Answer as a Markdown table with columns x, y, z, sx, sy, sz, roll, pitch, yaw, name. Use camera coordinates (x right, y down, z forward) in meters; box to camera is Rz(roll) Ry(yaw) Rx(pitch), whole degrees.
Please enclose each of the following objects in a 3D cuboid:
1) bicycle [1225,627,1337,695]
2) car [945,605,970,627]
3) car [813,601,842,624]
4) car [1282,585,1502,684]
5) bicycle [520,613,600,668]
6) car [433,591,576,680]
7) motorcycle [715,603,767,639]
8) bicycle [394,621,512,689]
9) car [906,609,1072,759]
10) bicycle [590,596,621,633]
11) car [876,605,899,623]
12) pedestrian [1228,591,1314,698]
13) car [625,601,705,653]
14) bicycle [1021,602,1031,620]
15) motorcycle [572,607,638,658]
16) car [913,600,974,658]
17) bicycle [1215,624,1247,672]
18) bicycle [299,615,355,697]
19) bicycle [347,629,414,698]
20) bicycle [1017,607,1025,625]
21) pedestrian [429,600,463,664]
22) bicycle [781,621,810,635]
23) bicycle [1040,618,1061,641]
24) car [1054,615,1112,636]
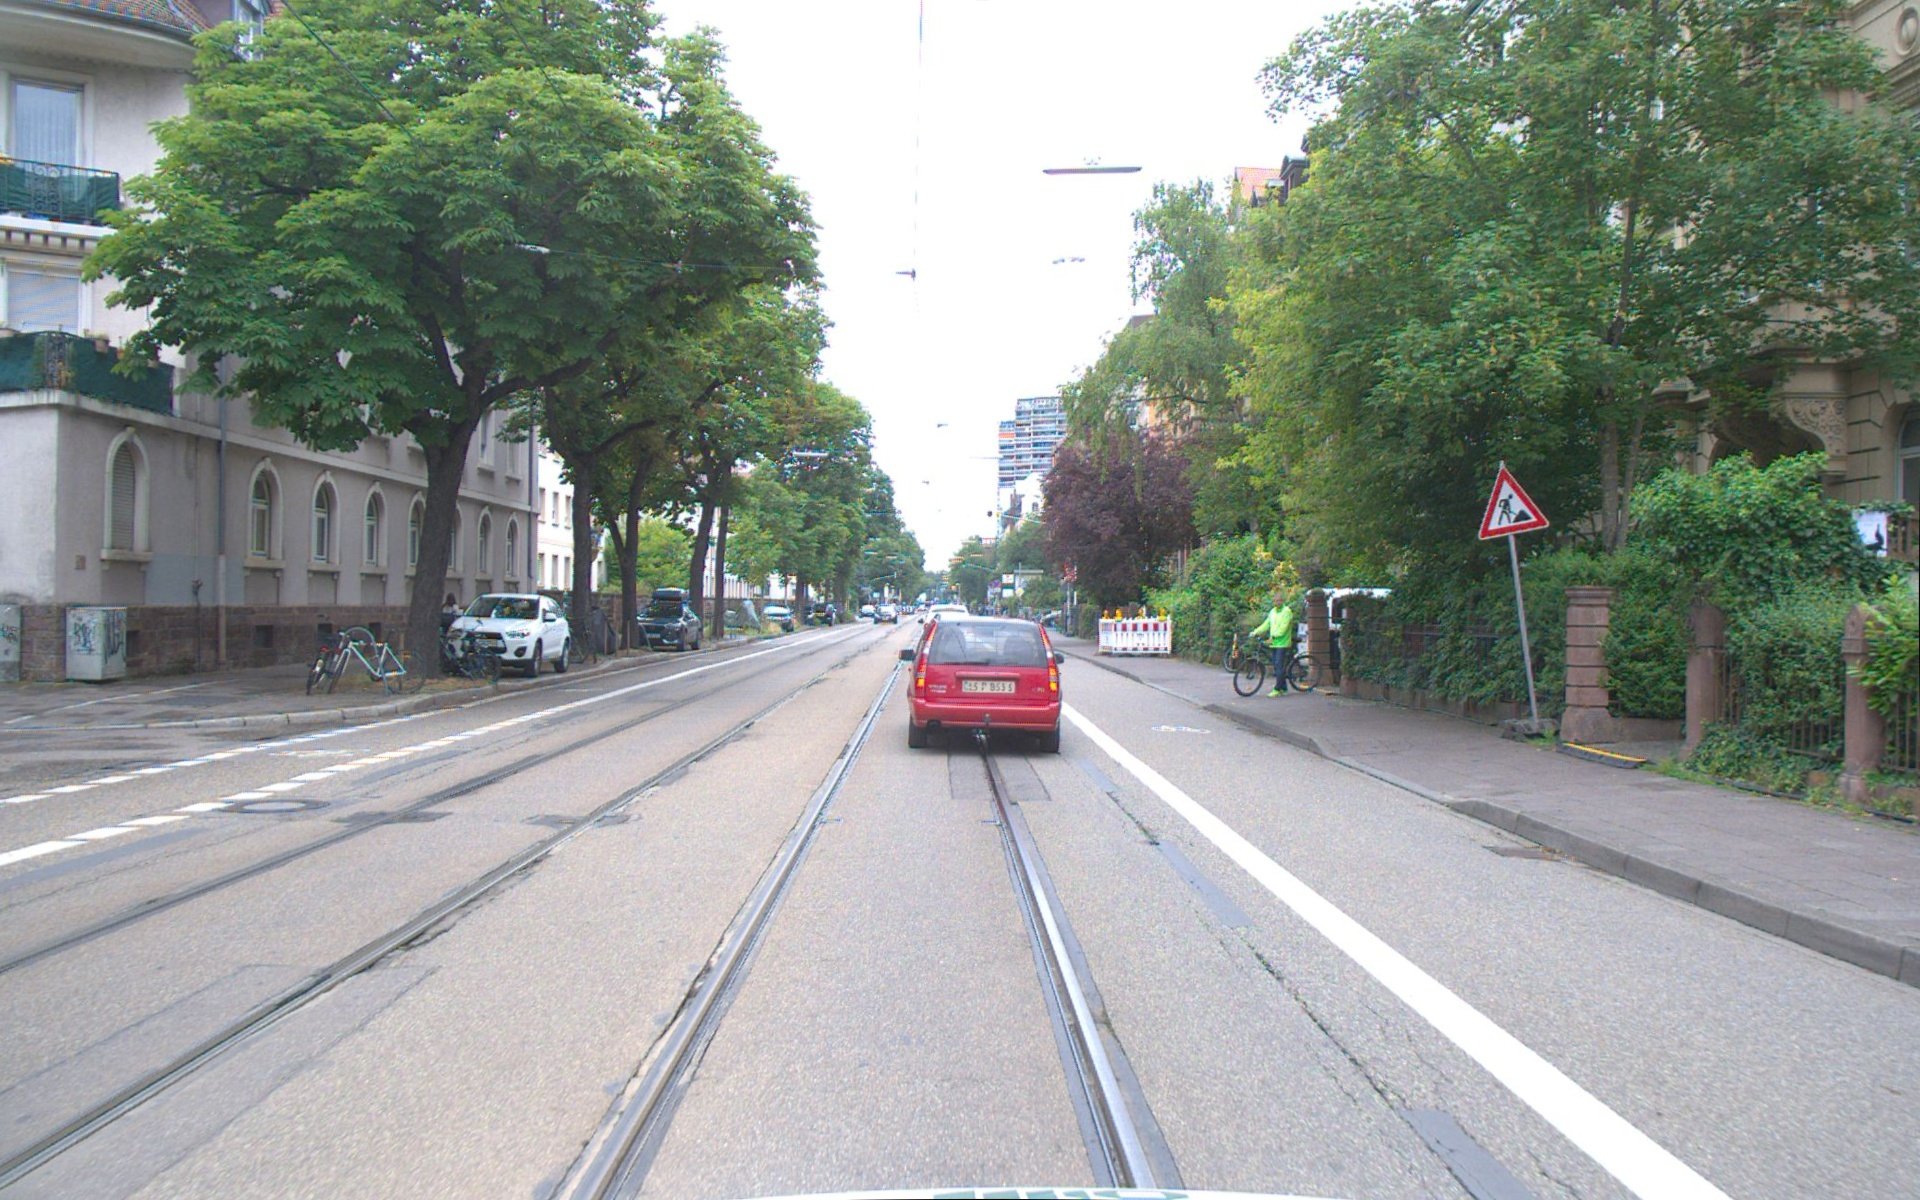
| x | y | z | sx | sy | sz | roll | pitch | yaw | name |
| --- | --- | --- | --- | --- | --- | --- | --- | --- | --- |
| 5.667 | 1.073 | 29.241 | 1.804 | 1.094 | 0.606 | -3 | 0 | -2 | bicycle |
| -0.202 | 1.251 | 129.829 | 1.706 | 1.634 | 3.998 | 1 | 0 | -3 | car |
| -9.605 | 0.891 | 119.742 | 1.813 | 1.590 | 3.942 | 1 | 0 | -1 | car |
| 8.509 | 0.671 | 32.803 | 3.906 | 1.891 | 1.808 | 0 | 0 | -1 | car |
| -9.474 | 0.954 | 39.194 | 1.706 | 1.213 | 0.653 | 2 | 0 | 13 | bicycle |
| -9.237 | 0.690 | 33.876 | 1.859 | 1.684 | 4.223 | 1 | 0 | -2 | car |
| -9.891 | 0.949 | 74.668 | 2.225 | 1.538 | 0.924 | 0 | -2 | 34 | motorcycle |
| -9.138 | 0.985 | 29.869 | 1.883 | 1.140 | 0.624 | 2 | -1 | -1 | bicycle |
| 0.270 | 0.866 | 18.761 | 1.655 | 1.467 | 3.742 | 2 | 0 | -1 | car |
| -13.710 | 0.569 | 64.024 | 0.776 | 1.406 | 2.140 | 0 | -1 | -1 | bicycle |
| -5.725 | 1.078 | 130.317 | 1.720 | 1.404 | 4.025 | 1 | 0 | -2 | car |
| 5.404 | 0.760 | 28.815 | 1.204 | 1.763 | 1.018 | -3 | 0 | -2 | pedestrian |
| -9.368 | 0.846 | 52.784 | 1.741 | 1.537 | 4.237 | 1 | 0 | 0 | car |
| 4.898 | 0.841 | 122.891 | 0.694 | 1.323 | 1.904 | 0 | 0 | -1 | bicycle |
| -9.579 | 0.865 | 44.725 | 0.845 | 1.311 | 2.324 | 1 | 0 | 12 | motorcycle |
| -0.468 | 0.852 | 49.908 | 1.683 | 1.653 | 3.941 | 1 | 0 | 1 | car |
| 6.153 | 1.077 | 37.570 | 0.469 | 1.063 | 1.531 | 1 | 0 | 0 | bicycle |
| -9.691 | 0.833 | 25.372 | 0.664 | 1.155 | 1.927 | 0 | 1 | -17 | bicycle |
| -8.665 | 0.941 | 24.776 | 0.473 | 0.975 | 1.398 | 1 | 0 | 1 | bicycle |
| 4.800 | 1.244 | 130.939 | 0.540 | 1.425 | 1.733 | 1 | 0 | -1 | bicycle |
| -12.113 | 0.748 | 39.003 | 0.553 | 1.493 | 0.722 | 0 | 0 | -1 | pedestrian |
| -10.441 | 1.784 | 105.026 | 1.713 | 0.858 | 0.684 | 1 | -1 | 0 | bicycle |
| 6.111 | 1.994 | 111.263 | 0.898 | 1.533 | 2.382 | 1 | 0 | 16 | bicycle |
| 8.630 | 1.770 | 115.727 | 3.902 | 1.385 | 1.894 | 0 | 0 | 9 | car |
